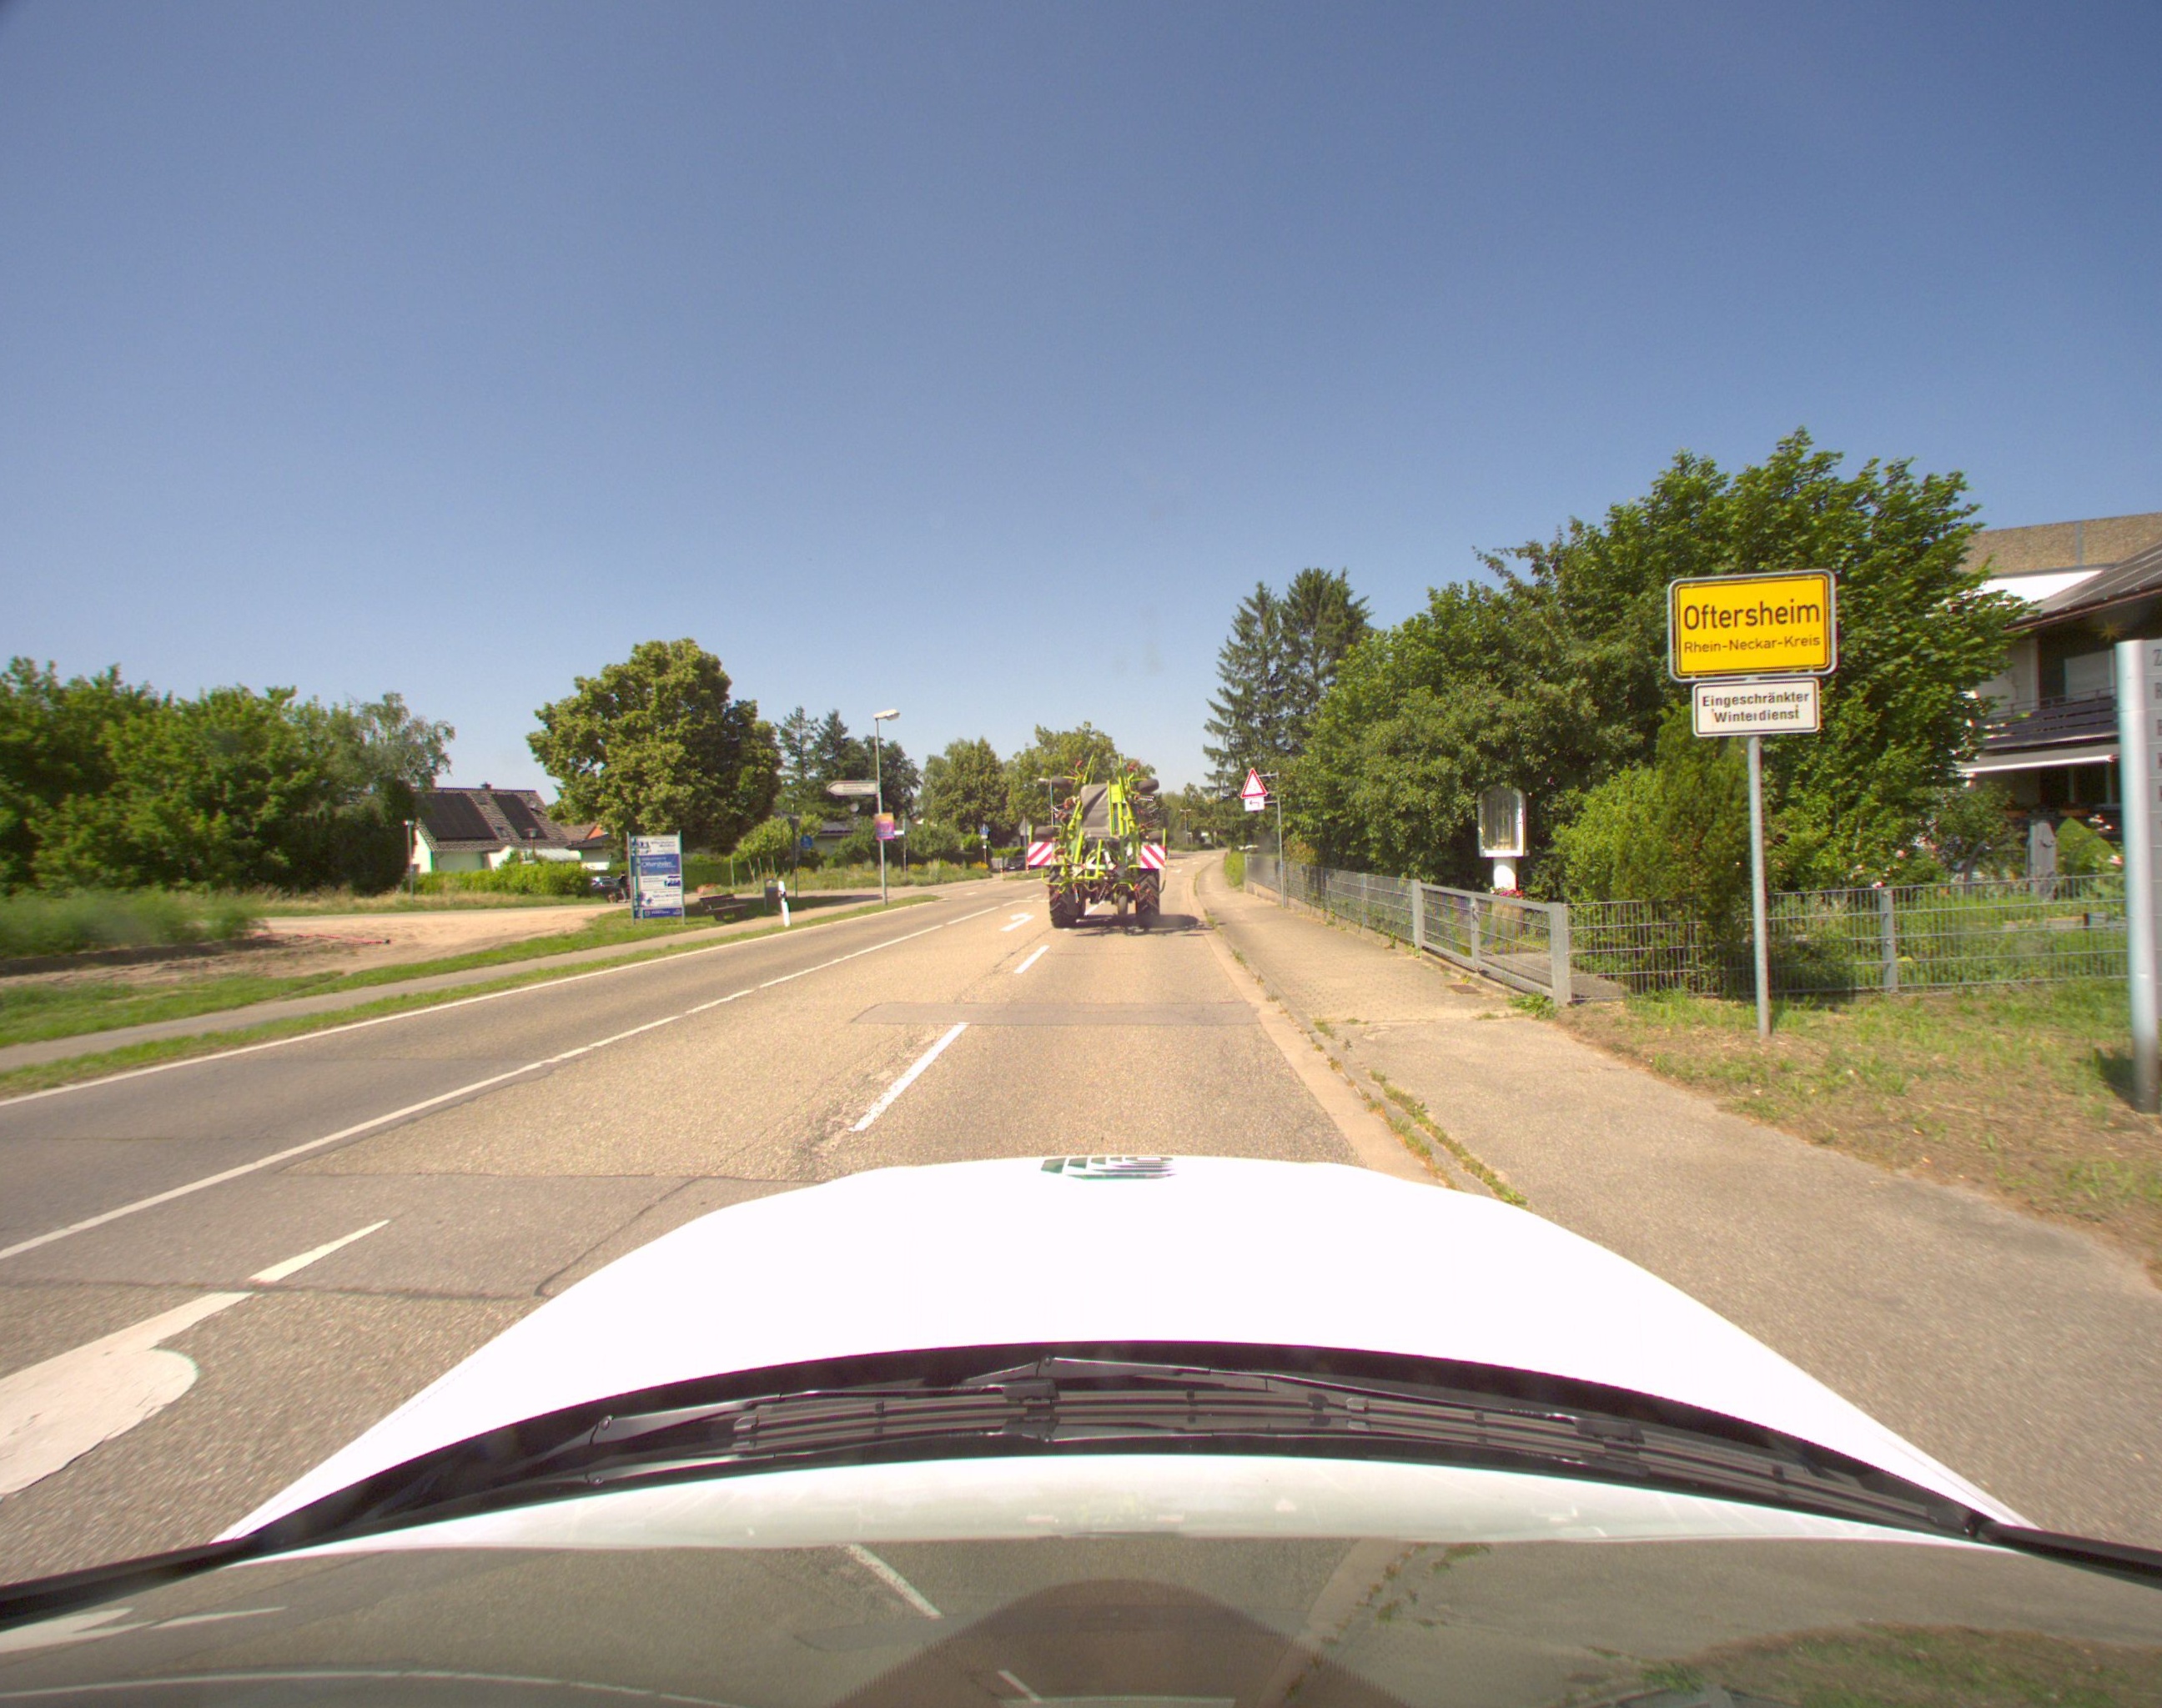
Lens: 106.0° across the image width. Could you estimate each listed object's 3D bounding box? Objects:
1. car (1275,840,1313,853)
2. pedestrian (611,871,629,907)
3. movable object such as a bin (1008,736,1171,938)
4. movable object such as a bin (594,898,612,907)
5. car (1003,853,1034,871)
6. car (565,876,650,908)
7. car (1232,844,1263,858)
[{"bbox_3d":[23.886,-0.857,91.424,3.804,1.294,1.681,-1,0,-5],"label":"car"},{"bbox_3d":[-22.526,1.682,39.775,0.679,1.716,0.544,-2,0,-36],"label":"pedestrian"},{"bbox_3d":[0.565,-0.322,19.548,2.839,3.541,9.714,-2,0,5],"label":"movable object such as a bin"},{"bbox_3d":[-22.762,2.306,38.793,0.756,0.410,0.321,-2,0,17],"label":"movable object such as a bin"},{"bbox_3d":[-5.707,0.719,75.230,1.676,1.530,4.015,-2,0,13],"label":"car"},{"bbox_3d":[-27.074,2.156,46.592,4.052,1.519,2.010,-3,0,20],"label":"car"},{"bbox_3d":[23.129,-0.434,113.024,3.971,1.715,1.864,-2,0,2],"label":"car"}]
